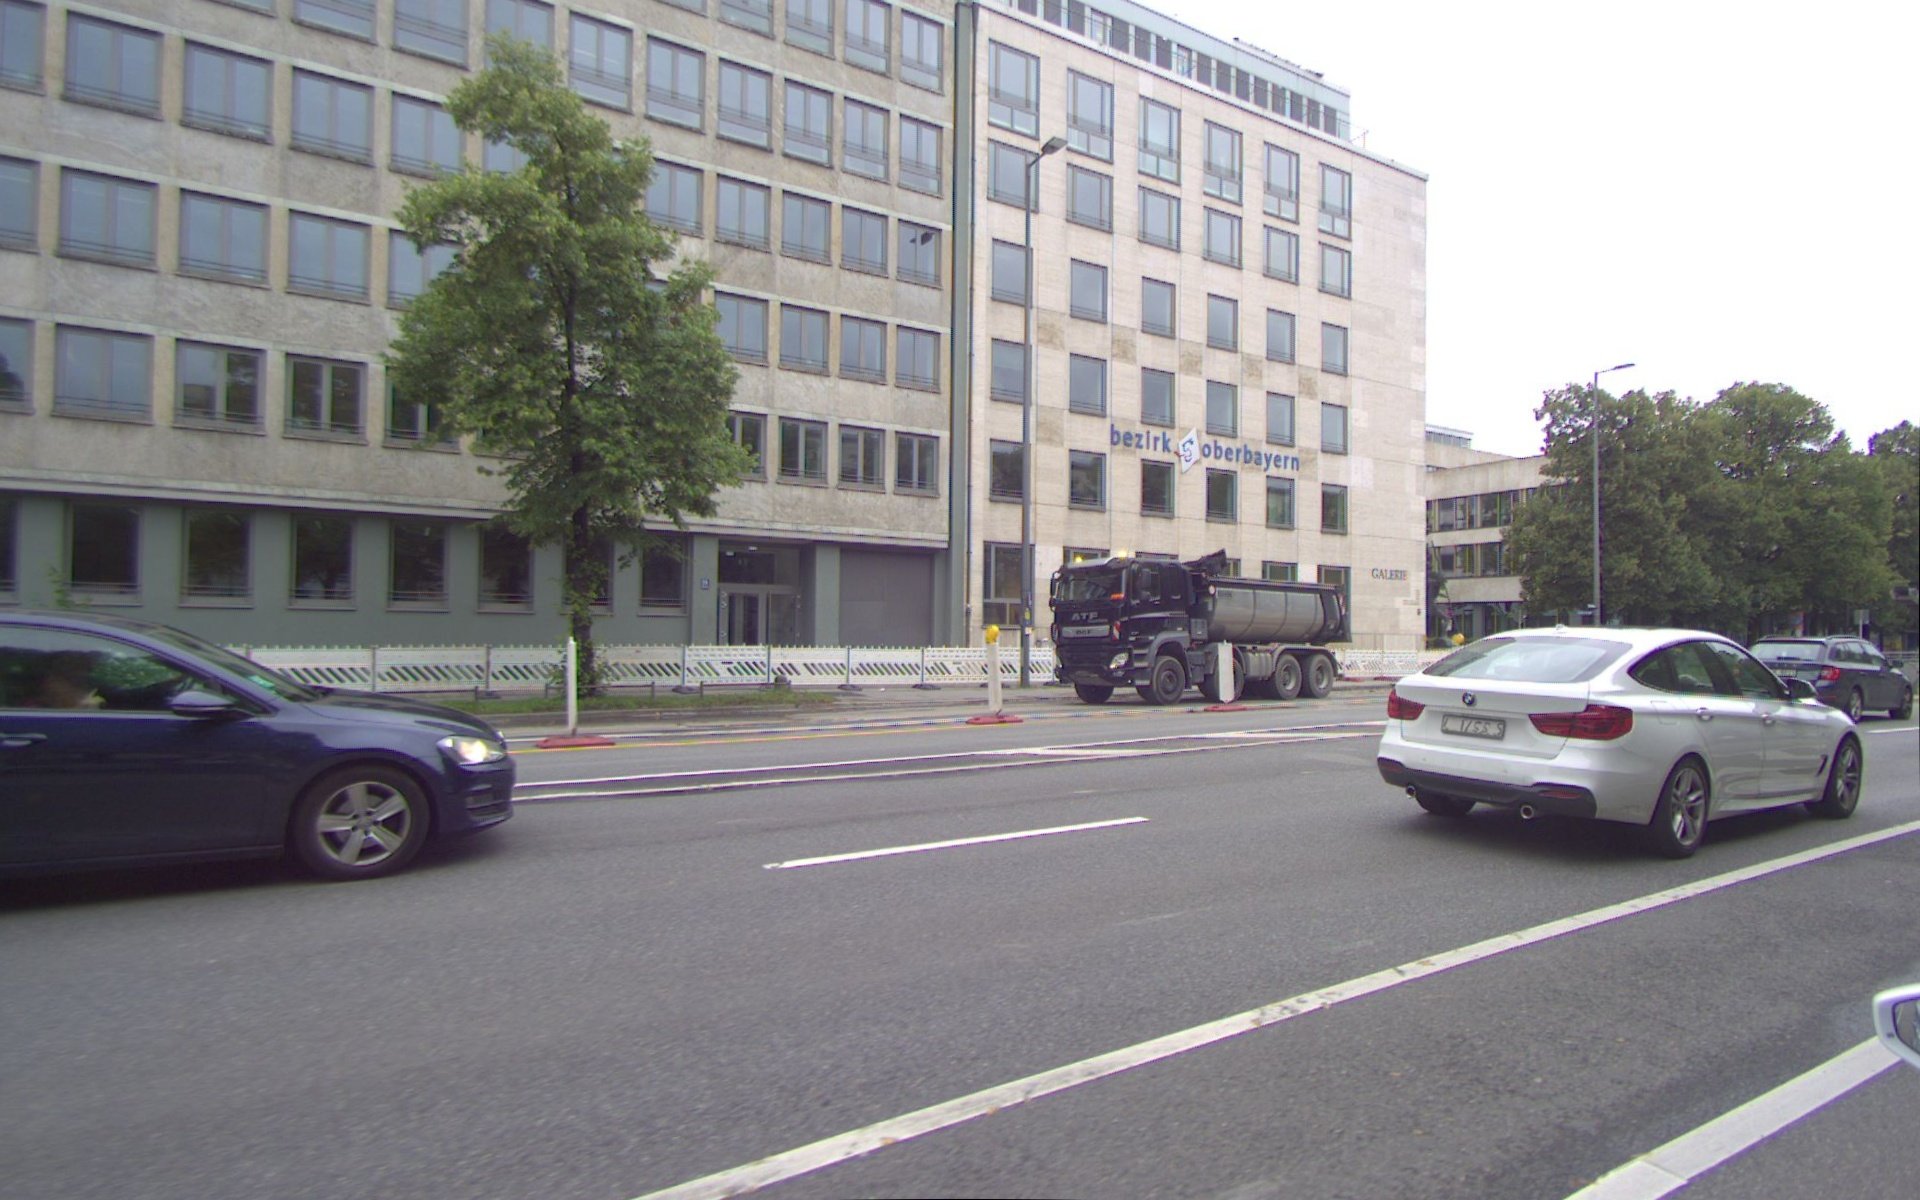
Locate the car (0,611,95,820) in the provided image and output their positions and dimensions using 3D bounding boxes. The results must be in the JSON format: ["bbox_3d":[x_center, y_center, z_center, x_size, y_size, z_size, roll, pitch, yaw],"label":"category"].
[{"bbox_3d":[-9.258,0.786,6.615,5.163,1.484,1.865,2,-2,-35],"label":"car"}]

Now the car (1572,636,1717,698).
[{"bbox_3d":[19.048,1.819,27.924,3.958,1.617,1.982,2,-3,-33],"label":"car"}]

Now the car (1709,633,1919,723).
[{"bbox_3d":[15.661,1.355,18.269,4.225,1.466,1.784,2,-2,-30],"label":"car"}]

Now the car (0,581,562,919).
[{"bbox_3d":[-4.579,0.709,5.441,4.290,1.536,1.683,2,-2,-32],"label":"car"}]

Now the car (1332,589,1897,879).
[{"bbox_3d":[5.265,0.864,7.847,4.970,1.658,1.783,2,-2,-32],"label":"car"}]

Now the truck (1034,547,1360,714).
[{"bbox_3d":[5.978,0.722,24.306,8.684,3.401,2.820,2,-1,-38],"label":"truck"}]

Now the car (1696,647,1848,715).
[{"bbox_3d":[21.287,2.055,26.310,3.958,1.617,1.982,2,-3,-33],"label":"car"}]
